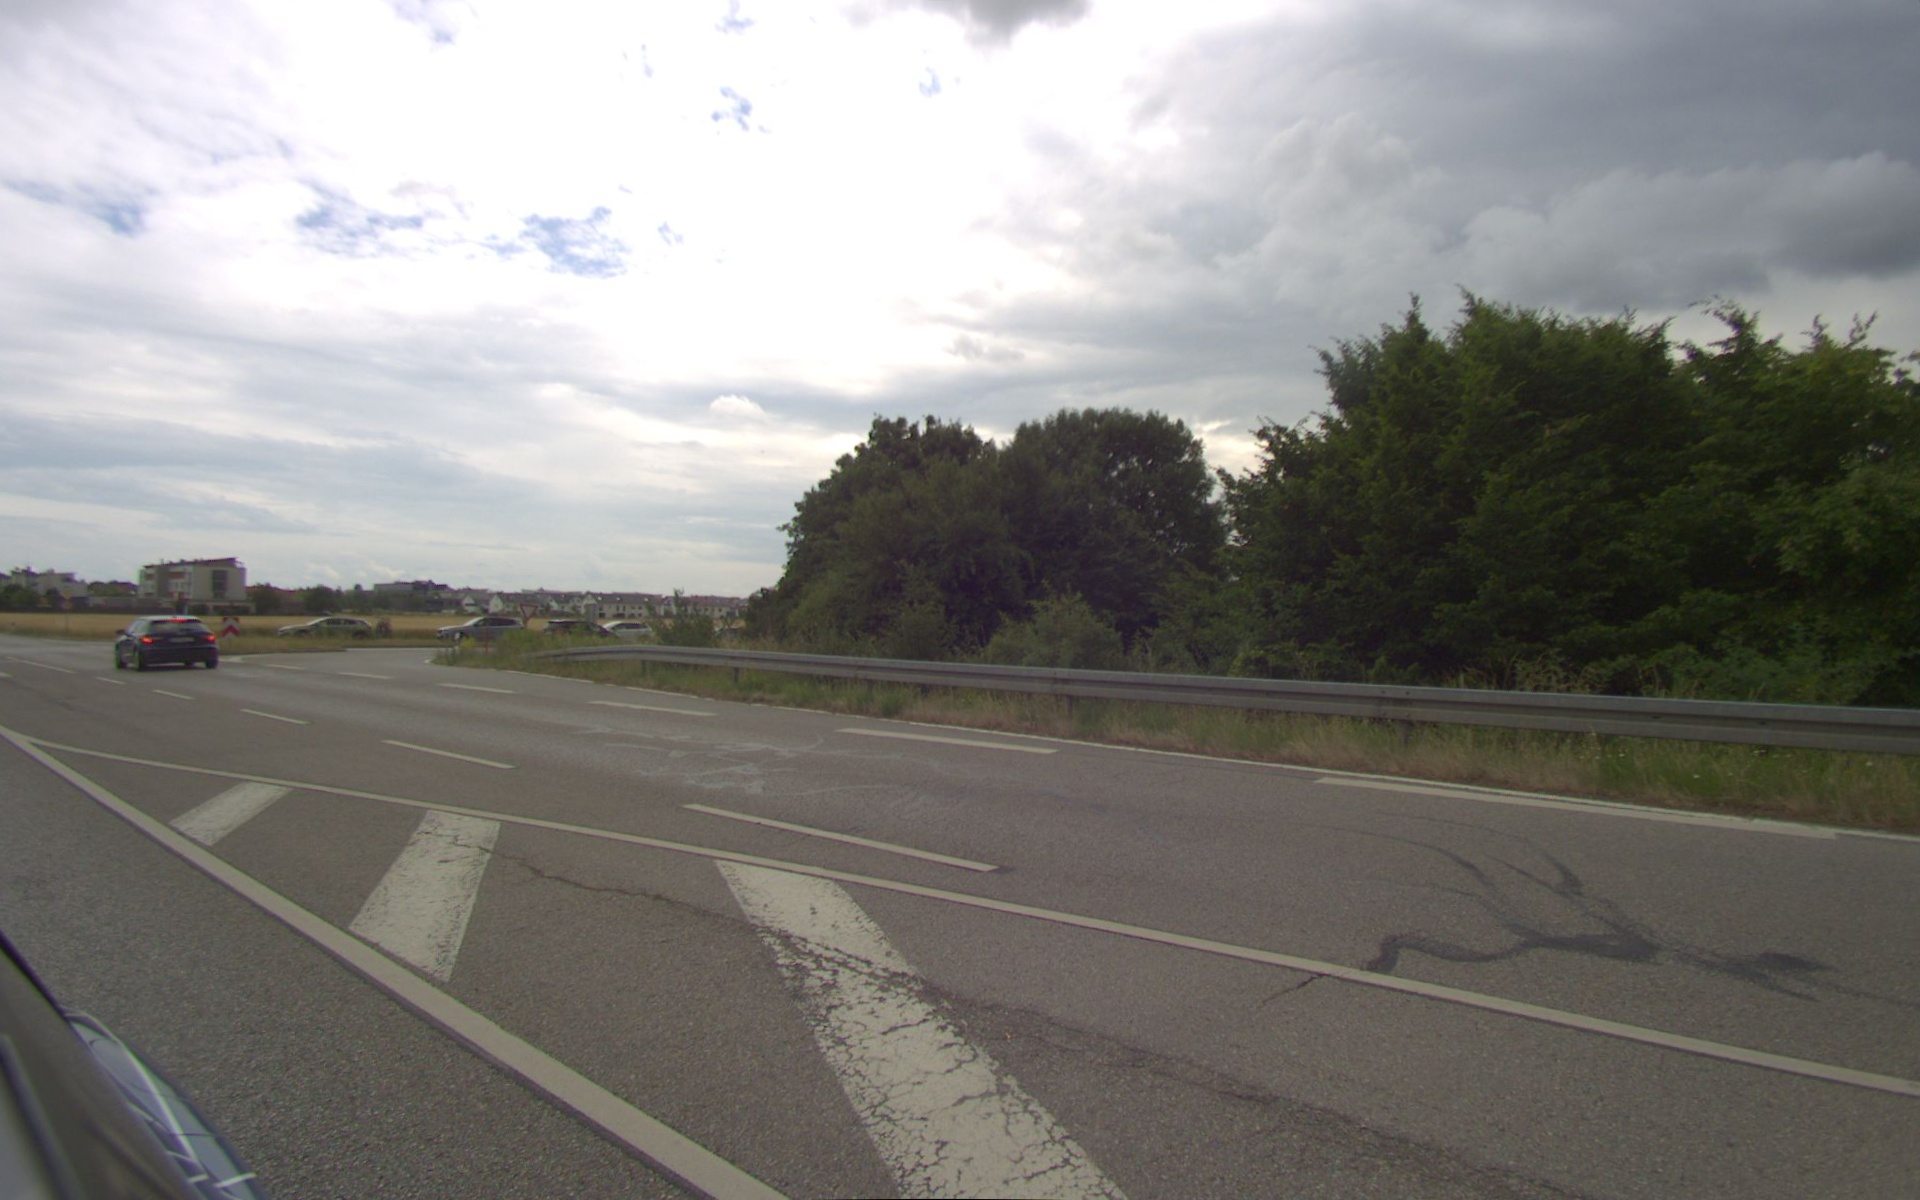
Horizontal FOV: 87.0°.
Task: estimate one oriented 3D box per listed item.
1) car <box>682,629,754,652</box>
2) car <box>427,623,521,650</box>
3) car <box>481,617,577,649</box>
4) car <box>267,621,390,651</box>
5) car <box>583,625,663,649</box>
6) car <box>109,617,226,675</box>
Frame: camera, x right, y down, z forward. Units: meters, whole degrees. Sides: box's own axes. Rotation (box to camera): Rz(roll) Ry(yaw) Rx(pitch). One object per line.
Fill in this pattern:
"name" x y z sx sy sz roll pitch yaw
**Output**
"car" -16.427 2.767 68.796 4.437 1.493 1.913 2 -2 -42
"car" -27.980 2.095 58.344 4.568 1.528 1.913 2 -2 -42
"car" -22.731 1.722 53.520 1.703 1.623 4.430 -1 -1 34
"car" -33.356 1.897 53.570 5.221 1.533 1.913 2 -2 -43
"car" -21.350 2.321 64.207 4.437 1.493 1.913 2 -2 -42
"car" -21.234 1.173 27.058 3.999 1.387 1.842 -1 0 42
